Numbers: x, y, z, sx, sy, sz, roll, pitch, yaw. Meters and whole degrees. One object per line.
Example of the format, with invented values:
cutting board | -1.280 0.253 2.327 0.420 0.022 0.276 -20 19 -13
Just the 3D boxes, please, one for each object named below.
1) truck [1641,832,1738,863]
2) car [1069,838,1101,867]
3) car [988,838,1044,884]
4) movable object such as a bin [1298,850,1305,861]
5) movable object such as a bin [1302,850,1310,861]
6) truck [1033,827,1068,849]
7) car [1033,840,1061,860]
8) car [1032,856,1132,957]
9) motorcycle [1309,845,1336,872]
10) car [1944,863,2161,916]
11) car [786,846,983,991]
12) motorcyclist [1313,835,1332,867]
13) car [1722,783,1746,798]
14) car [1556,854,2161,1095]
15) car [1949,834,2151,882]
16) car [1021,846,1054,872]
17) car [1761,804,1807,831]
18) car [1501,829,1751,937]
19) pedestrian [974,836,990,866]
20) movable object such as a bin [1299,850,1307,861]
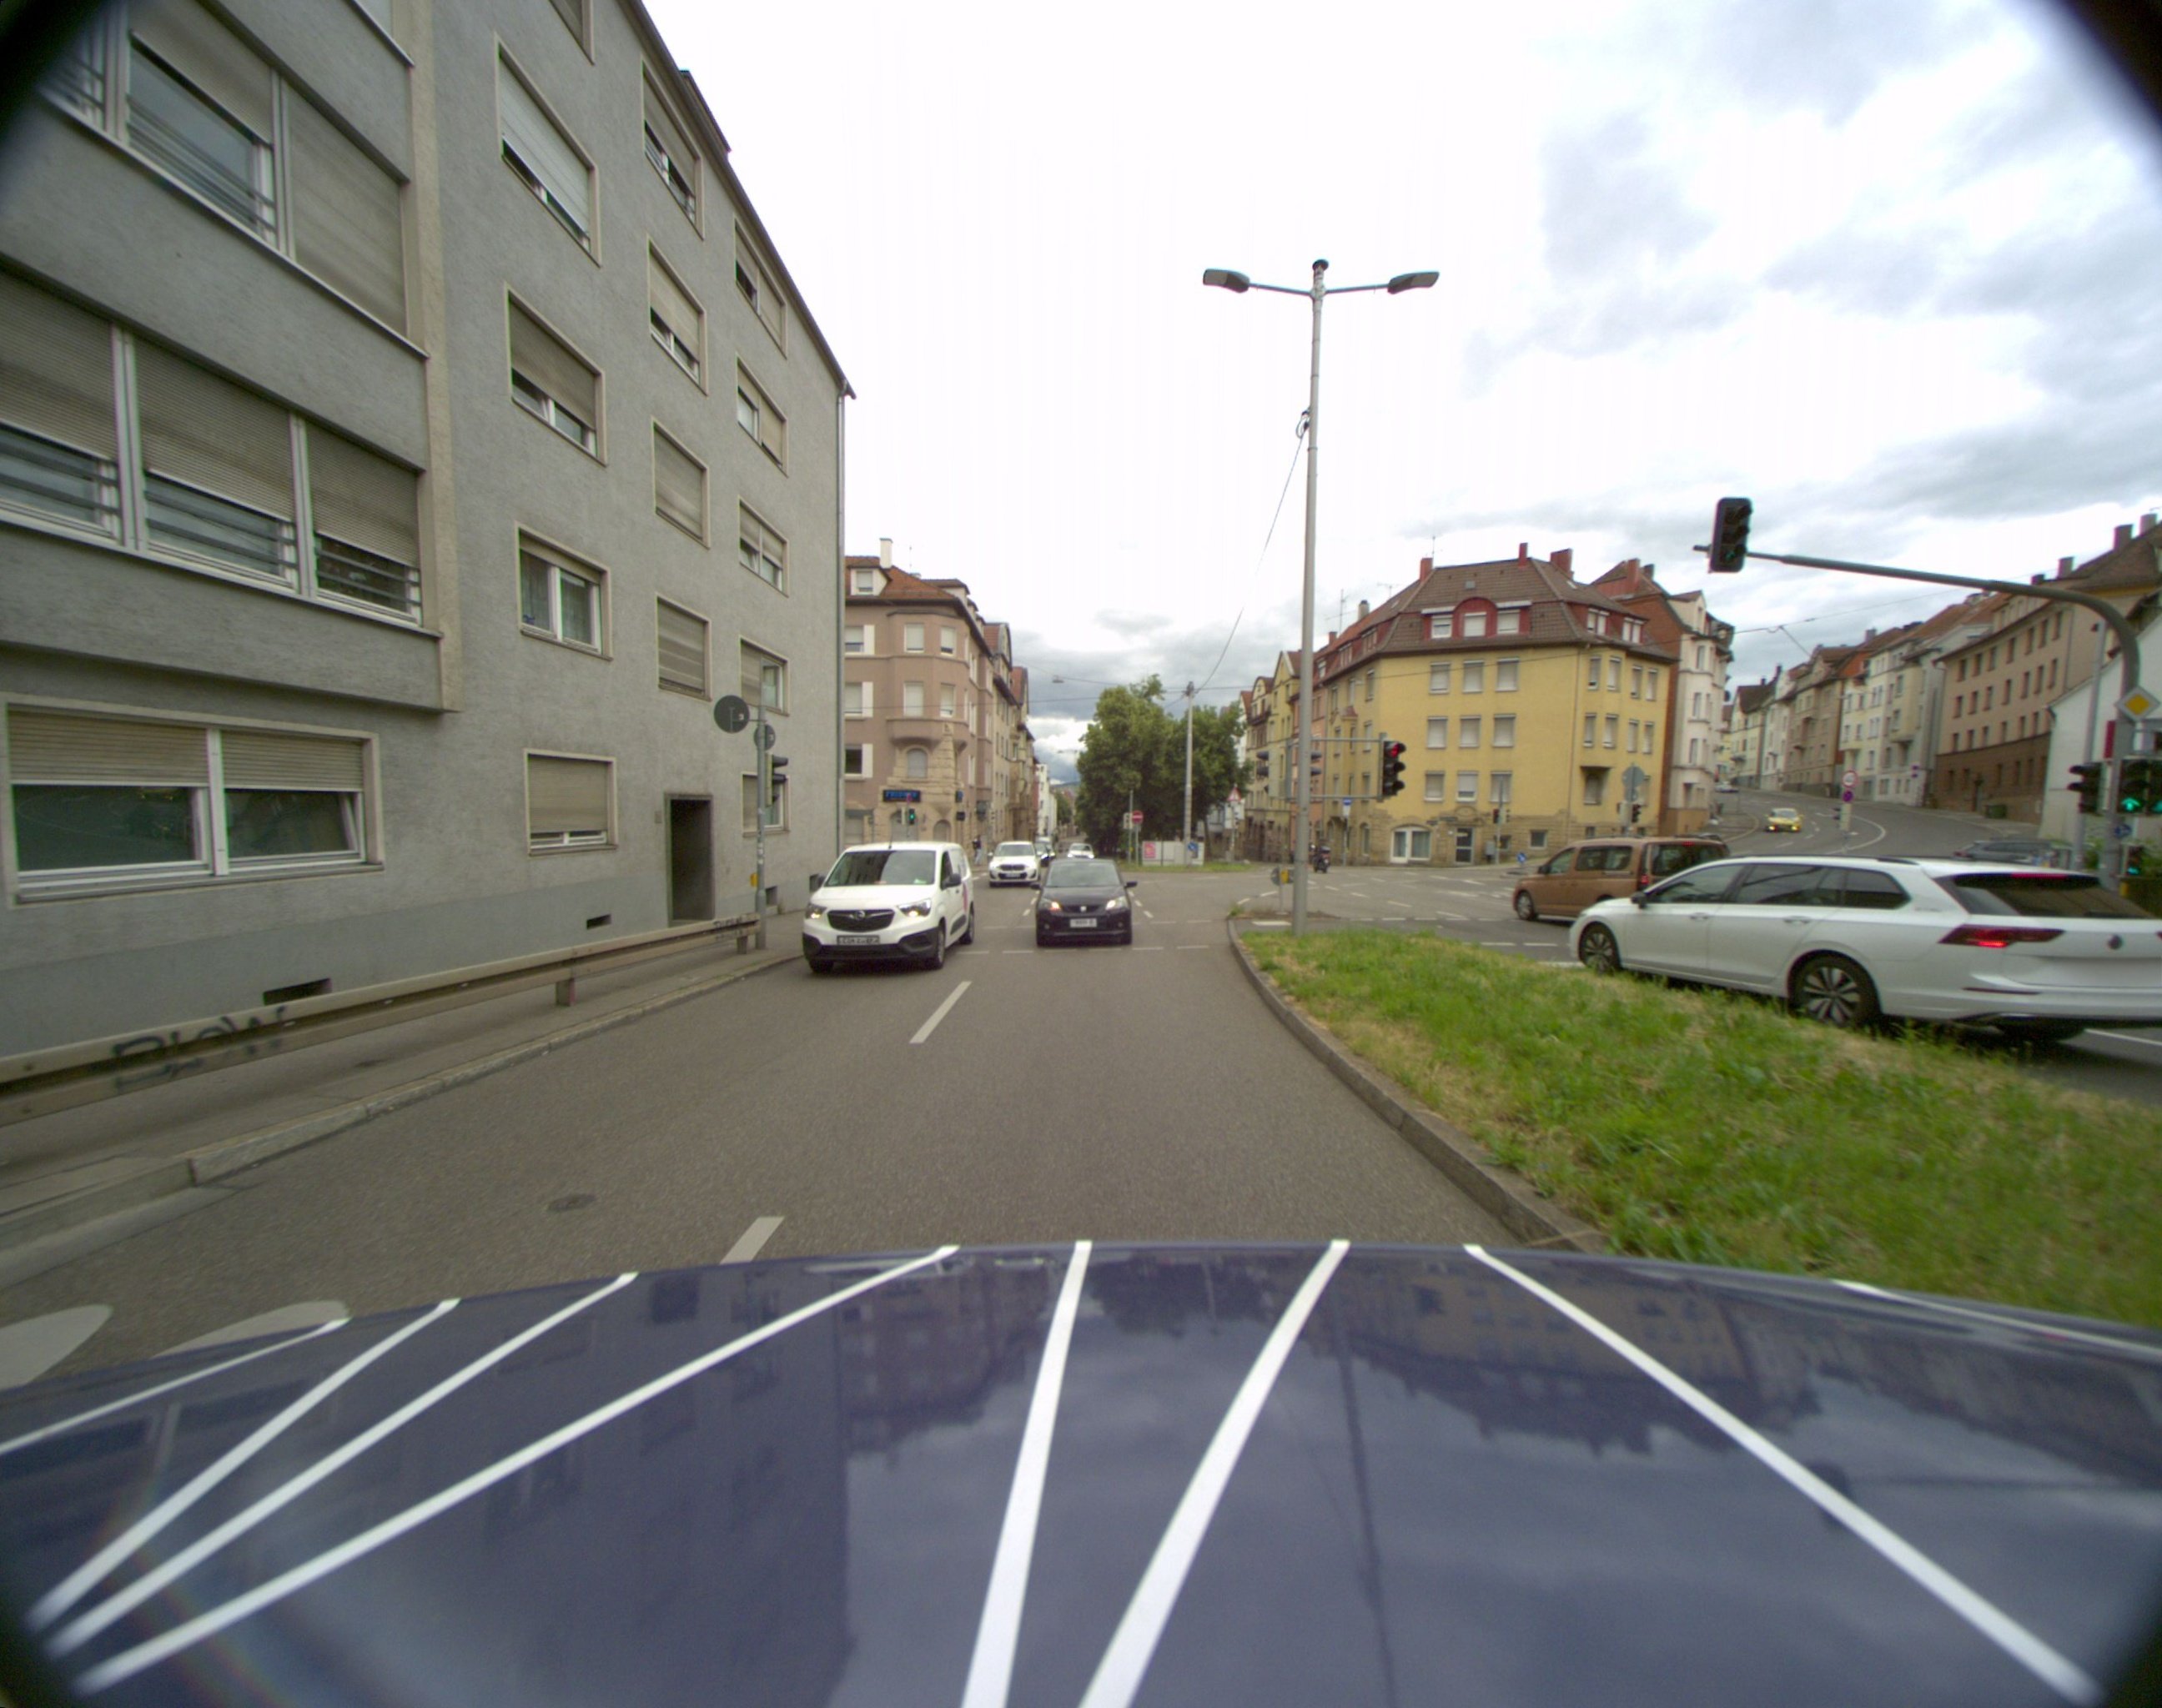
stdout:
truck | 29.247 -0.332 36.524 4.004 1.410 1.849 -1 1 -21
car | 0.221 -0.124 48.613 1.784 1.584 3.531 3 3 -2
car | -2.455 0.237 29.490 1.780 1.598 4.162 -2 1 -1
movable object such as a bin | 17.939 0.116 61.834 0.487 0.860 0.448 2 2 5
movable object such as a bin | 17.934 0.141 60.576 0.487 0.860 0.448 2 2 5
truck | -4.072 -2.161 103.705 2.549 2.891 7.785 2 1 15
car | -2.638 -0.348 60.104 1.841 1.477 4.000 2 1 2
car | -0.005 0.848 14.093 1.604 1.449 3.682 -1 3 -1
motorcycle | 11.211 0.179 35.333 0.546 1.178 2.204 0 2 2
car | 25.893 0.889 19.909 3.988 1.182 1.839 1 2 35
car | -2.760 0.783 11.897 1.788 1.779 4.843 -1 1 0
motorcyclist | 11.229 -0.149 35.292 0.674 1.467 0.662 0 2 1
car | 87.764 -8.548 102.170 1.858 1.711 3.863 1 1 33
car | 6.819 0.783 7.166 1.750 1.459 4.584 1 1 0
car | 34.069 0.078 26.949 1.685 1.458 4.287 -7 5 -41
car | -2.636 0.270 47.013 1.780 1.434 4.162 -2 1 -1
car | 47.920 -2.471 51.859 1.857 1.711 3.864 2 1 37
car | 10.412 0.514 15.015 1.884 1.805 4.352 0 -1 1
pedestrian | -5.443 -0.162 41.890 0.735 1.638 1.004 0 2 -2
movable object such as a bin | 17.897 0.127 61.225 0.487 0.860 0.448 2 2 5
